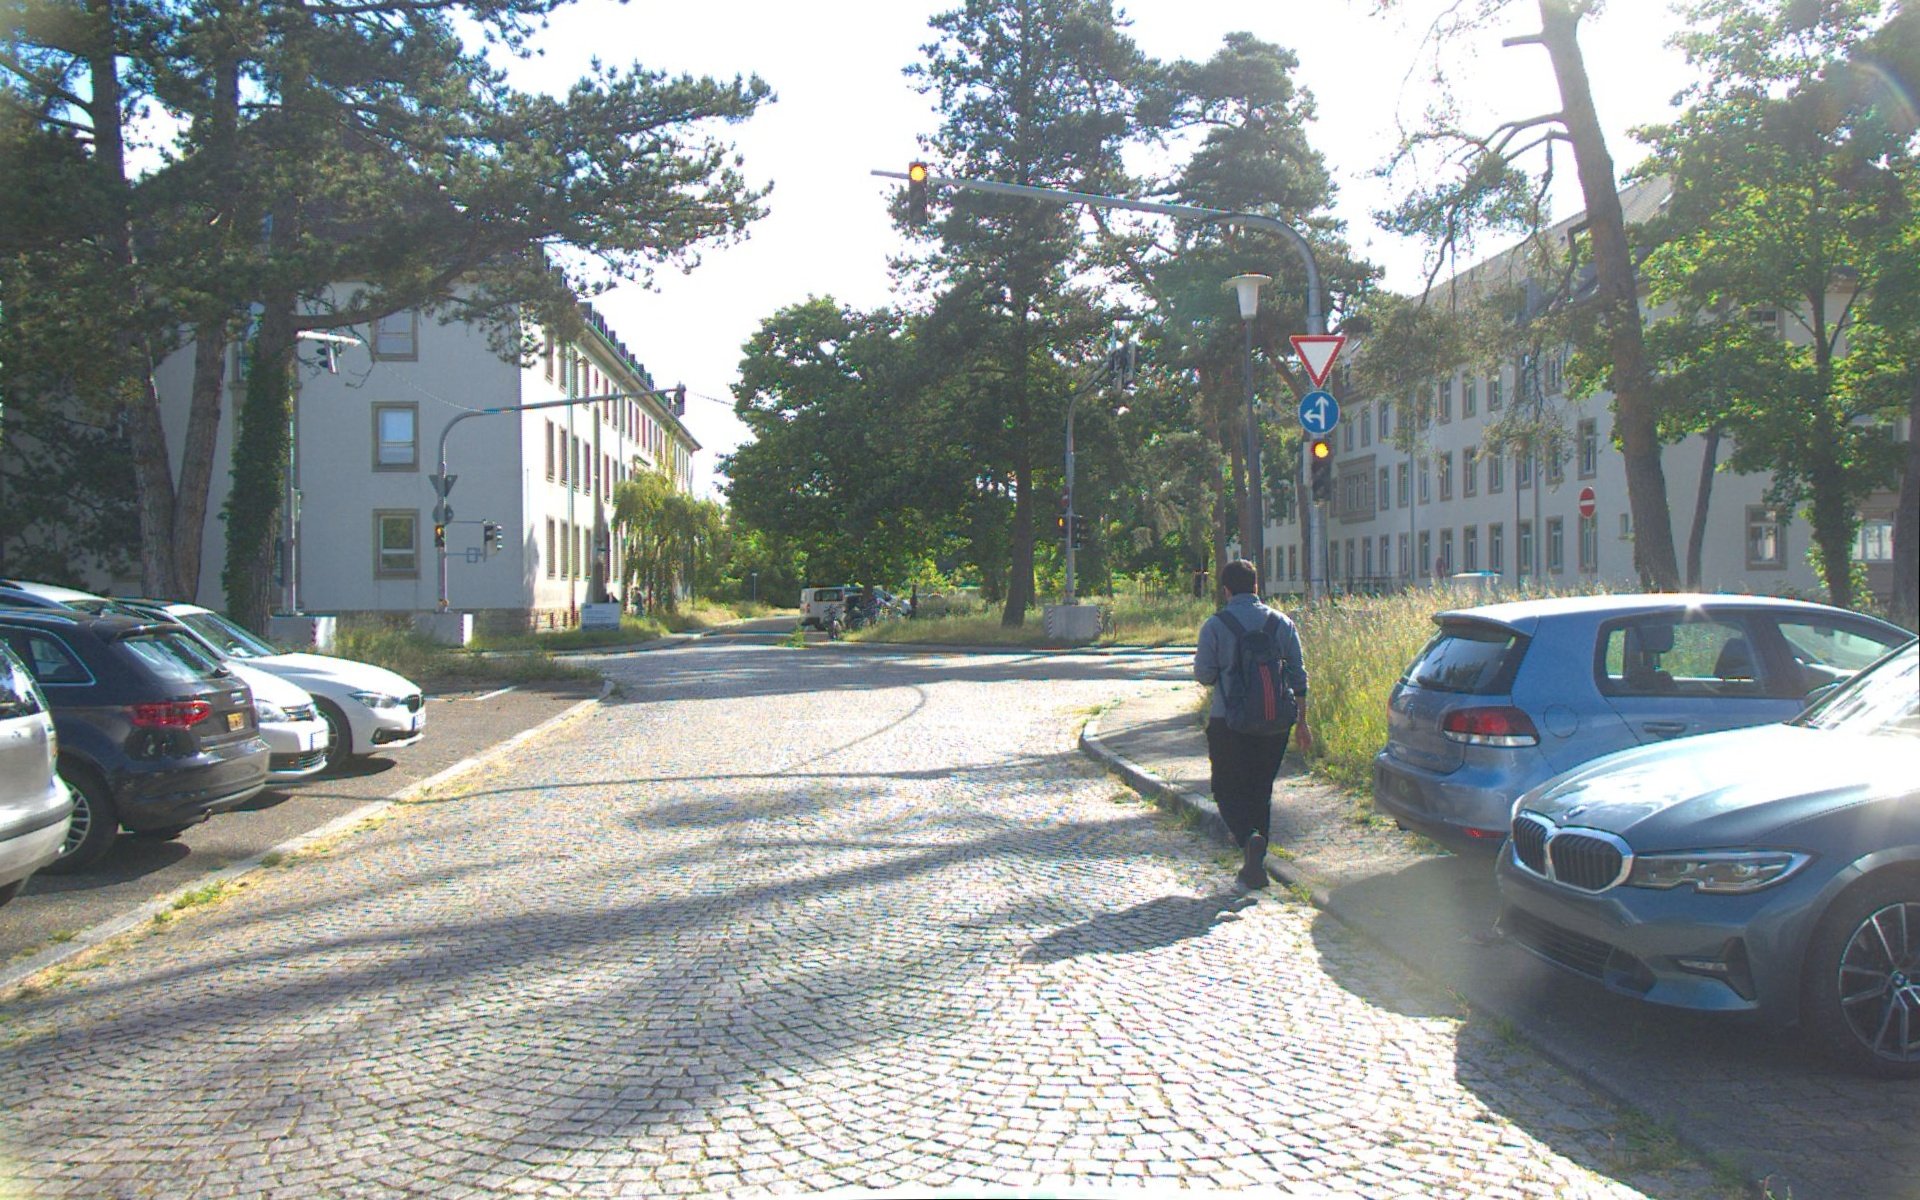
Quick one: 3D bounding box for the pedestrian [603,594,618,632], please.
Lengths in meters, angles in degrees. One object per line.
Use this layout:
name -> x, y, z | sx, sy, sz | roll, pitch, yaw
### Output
pedestrian -> -14.888, 0.542, 70.384 | 0.596, 1.587, 0.543 | 0, 0, -11

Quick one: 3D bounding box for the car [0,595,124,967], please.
car -> -5.877, 0.720, 7.153 | 3.615, 1.554, 1.697 | 2, 0, -7

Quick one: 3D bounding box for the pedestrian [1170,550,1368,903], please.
pedestrian -> 1.635, 0.646, 8.861 | 0.738, 1.755, 0.828 | 4, 0, -5

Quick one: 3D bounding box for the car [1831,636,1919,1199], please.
car -> 4.466, 0.733, 3.547 | 4.314, 1.413, 1.787 | -2, 0, -6

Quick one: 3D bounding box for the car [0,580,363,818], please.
car -> -6.734, 0.688, 12.527 | 3.805, 1.643, 1.658 | 2, 0, -6

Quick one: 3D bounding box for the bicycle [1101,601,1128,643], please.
bicycle -> 4.288, 0.597, 45.994 | 0.706, 1.134, 2.585 | -1, 0, 5

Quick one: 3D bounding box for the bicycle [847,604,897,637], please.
bicycle -> -3.074, 0.719, 57.851 | 1.695, 1.132, 0.483 | -1, 0, -8

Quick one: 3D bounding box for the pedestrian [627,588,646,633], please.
pedestrian -> -12.994, 0.424, 66.474 | 0.600, 1.783, 0.624 | 0, 0, -29

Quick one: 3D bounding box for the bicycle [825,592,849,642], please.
bicycle -> -4.016, 0.535, 54.000 | 0.738, 1.608, 2.534 | 0, 0, -5

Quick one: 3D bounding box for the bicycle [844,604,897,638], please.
bicycle -> -3.098, 0.721, 57.303 | 1.800, 1.132, 0.494 | -1, 0, -8

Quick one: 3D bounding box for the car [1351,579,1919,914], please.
car -> 4.129, 0.680, 8.838 | 3.601, 1.468, 1.664 | -2, 0, -5

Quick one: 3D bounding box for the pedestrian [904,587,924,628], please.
pedestrian -> -2.046, 0.343, 73.713 | 0.746, 1.815, 0.682 | -1, 0, -12

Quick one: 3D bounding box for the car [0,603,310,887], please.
car -> -6.136, 0.760, 9.800 | 3.861, 1.470, 1.689 | 3, 0, -6

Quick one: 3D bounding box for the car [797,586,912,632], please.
car -> -4.800, 0.397, 75.098 | 4.981, 1.951, 1.993 | -1, 0, -14

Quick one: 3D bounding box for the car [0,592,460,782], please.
car -> -6.827, 0.744, 15.141 | 3.905, 1.522, 1.772 | 2, 0, 0

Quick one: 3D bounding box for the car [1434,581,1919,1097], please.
car -> 4.363, 0.659, 6.273 | 4.532, 1.481, 1.867 | -3, 1, -7

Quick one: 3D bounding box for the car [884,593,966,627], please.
car -> -1.678, 0.472, 79.229 | 3.678, 1.607, 1.736 | 0, 0, -12

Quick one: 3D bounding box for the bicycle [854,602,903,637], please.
bicycle -> -2.896, 0.678, 58.549 | 1.695, 1.185, 0.560 | -1, 0, -8
